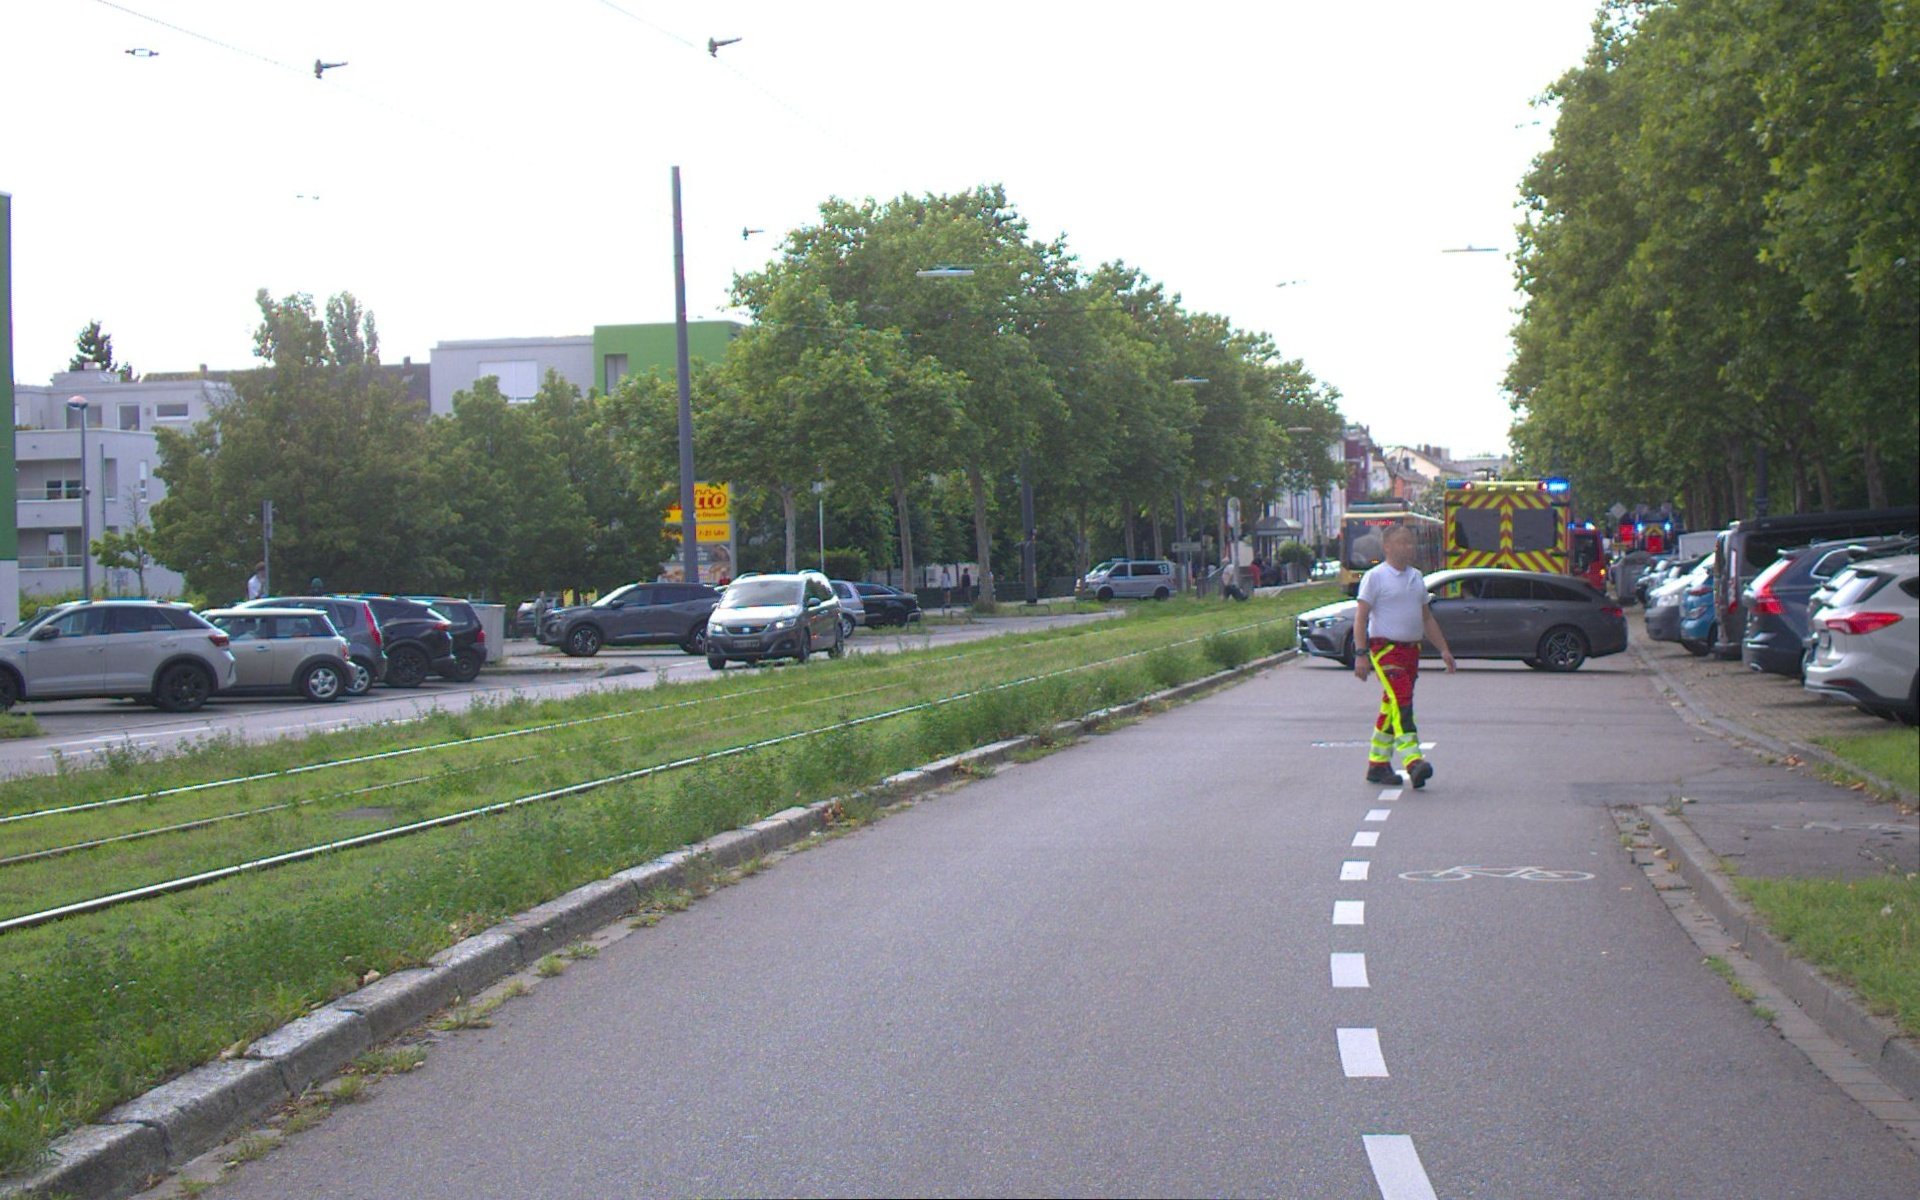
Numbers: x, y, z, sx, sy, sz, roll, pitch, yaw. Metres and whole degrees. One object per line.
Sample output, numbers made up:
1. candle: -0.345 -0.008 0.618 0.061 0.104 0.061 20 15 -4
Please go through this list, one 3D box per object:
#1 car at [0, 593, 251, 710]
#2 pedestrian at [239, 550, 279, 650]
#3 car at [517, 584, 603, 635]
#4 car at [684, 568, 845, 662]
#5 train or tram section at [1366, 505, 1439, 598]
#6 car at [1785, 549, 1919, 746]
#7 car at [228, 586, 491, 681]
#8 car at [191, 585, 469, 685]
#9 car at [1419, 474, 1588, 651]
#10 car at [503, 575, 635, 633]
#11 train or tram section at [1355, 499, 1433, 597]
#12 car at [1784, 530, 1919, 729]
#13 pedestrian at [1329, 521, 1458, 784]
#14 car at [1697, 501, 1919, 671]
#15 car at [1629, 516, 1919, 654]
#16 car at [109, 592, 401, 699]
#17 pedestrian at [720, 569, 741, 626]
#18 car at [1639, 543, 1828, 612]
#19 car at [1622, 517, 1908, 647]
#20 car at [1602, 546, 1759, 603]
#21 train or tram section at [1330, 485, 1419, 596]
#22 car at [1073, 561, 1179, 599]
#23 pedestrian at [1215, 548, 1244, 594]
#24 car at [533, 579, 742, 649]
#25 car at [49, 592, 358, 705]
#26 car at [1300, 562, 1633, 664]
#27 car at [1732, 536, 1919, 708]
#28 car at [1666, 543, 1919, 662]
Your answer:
1. car: -12.148 0.706 47.644 4.220 1.477 1.884 -2 1 -24
2. pedestrian: -12.932 0.001 63.430 0.546 1.822 0.509 -1 0 8
3. car: -14.403 0.335 124.003 1.994 1.744 3.998 1 1 10
4. car: -3.549 0.247 63.302 1.994 1.552 4.368 -2 0 9
5. train or tram section: 18.134 -1.946 140.614 2.513 3.572 7.442 -3 -1 10
6. car: 8.996 0.283 26.976 4.659 1.468 1.847 -2 0 7
7. car: -10.410 0.563 59.567 4.220 1.477 1.884 -2 1 -19
8. car: -10.363 0.559 56.503 4.220 1.477 1.884 -2 1 -19
9. car: 9.876 -0.674 62.057 2.643 2.956 6.296 2 1 12
10. car: -12.414 0.112 108.923 3.997 1.744 1.995 1 1 42
11. train or tram section: 16.868 -1.965 133.326 2.513 3.572 7.442 -3 -1 10
12. car: 9.503 0.164 29.149 4.659 1.620 1.847 -2 0 7
13. pedestrian: 2.833 0.333 22.470 0.803 1.680 0.851 -1 0 7
14. car: 12.206 -0.219 45.717 4.547 2.116 1.855 -2 0 10
15. car: 13.066 -0.245 54.744 4.547 1.994 1.855 -2 0 7
16. car: -10.977 0.683 53.487 4.220 1.477 1.884 -2 1 -19
17. pedestrian: -6.855 -0.071 102.509 0.466 1.671 0.603 -1 0 9
18. car: 19.948 -0.572 88.803 4.547 1.603 1.855 -2 0 7
19. car: 13.820 -0.304 59.253 4.547 2.036 1.855 -2 0 7
20. car: 22.338 -0.793 106.748 4.547 1.603 1.855 -2 0 7
21. train or tram section: 14.346 -2.002 118.669 2.513 3.572 7.442 -3 -1 10
22. car: 7.779 -0.947 161.224 4.612 1.627 1.883 -2 0 -29
23. pedestrian: 9.031 -0.968 115.088 0.881 1.520 0.750 1 0 10
24. car: -6.930 0.288 73.671 4.220 1.477 1.884 0 0 -14
25. car: -11.168 0.693 50.717 4.220 1.477 1.884 -2 1 -19
26. car: 7.175 0.176 48.976 4.453 1.381 1.767 1 1 -1
27. car: 10.005 0.167 34.401 4.383 1.634 1.755 -2 0 12
28. car: 13.142 0.014 52.129 4.546 1.655 1.855 -2 0 6
